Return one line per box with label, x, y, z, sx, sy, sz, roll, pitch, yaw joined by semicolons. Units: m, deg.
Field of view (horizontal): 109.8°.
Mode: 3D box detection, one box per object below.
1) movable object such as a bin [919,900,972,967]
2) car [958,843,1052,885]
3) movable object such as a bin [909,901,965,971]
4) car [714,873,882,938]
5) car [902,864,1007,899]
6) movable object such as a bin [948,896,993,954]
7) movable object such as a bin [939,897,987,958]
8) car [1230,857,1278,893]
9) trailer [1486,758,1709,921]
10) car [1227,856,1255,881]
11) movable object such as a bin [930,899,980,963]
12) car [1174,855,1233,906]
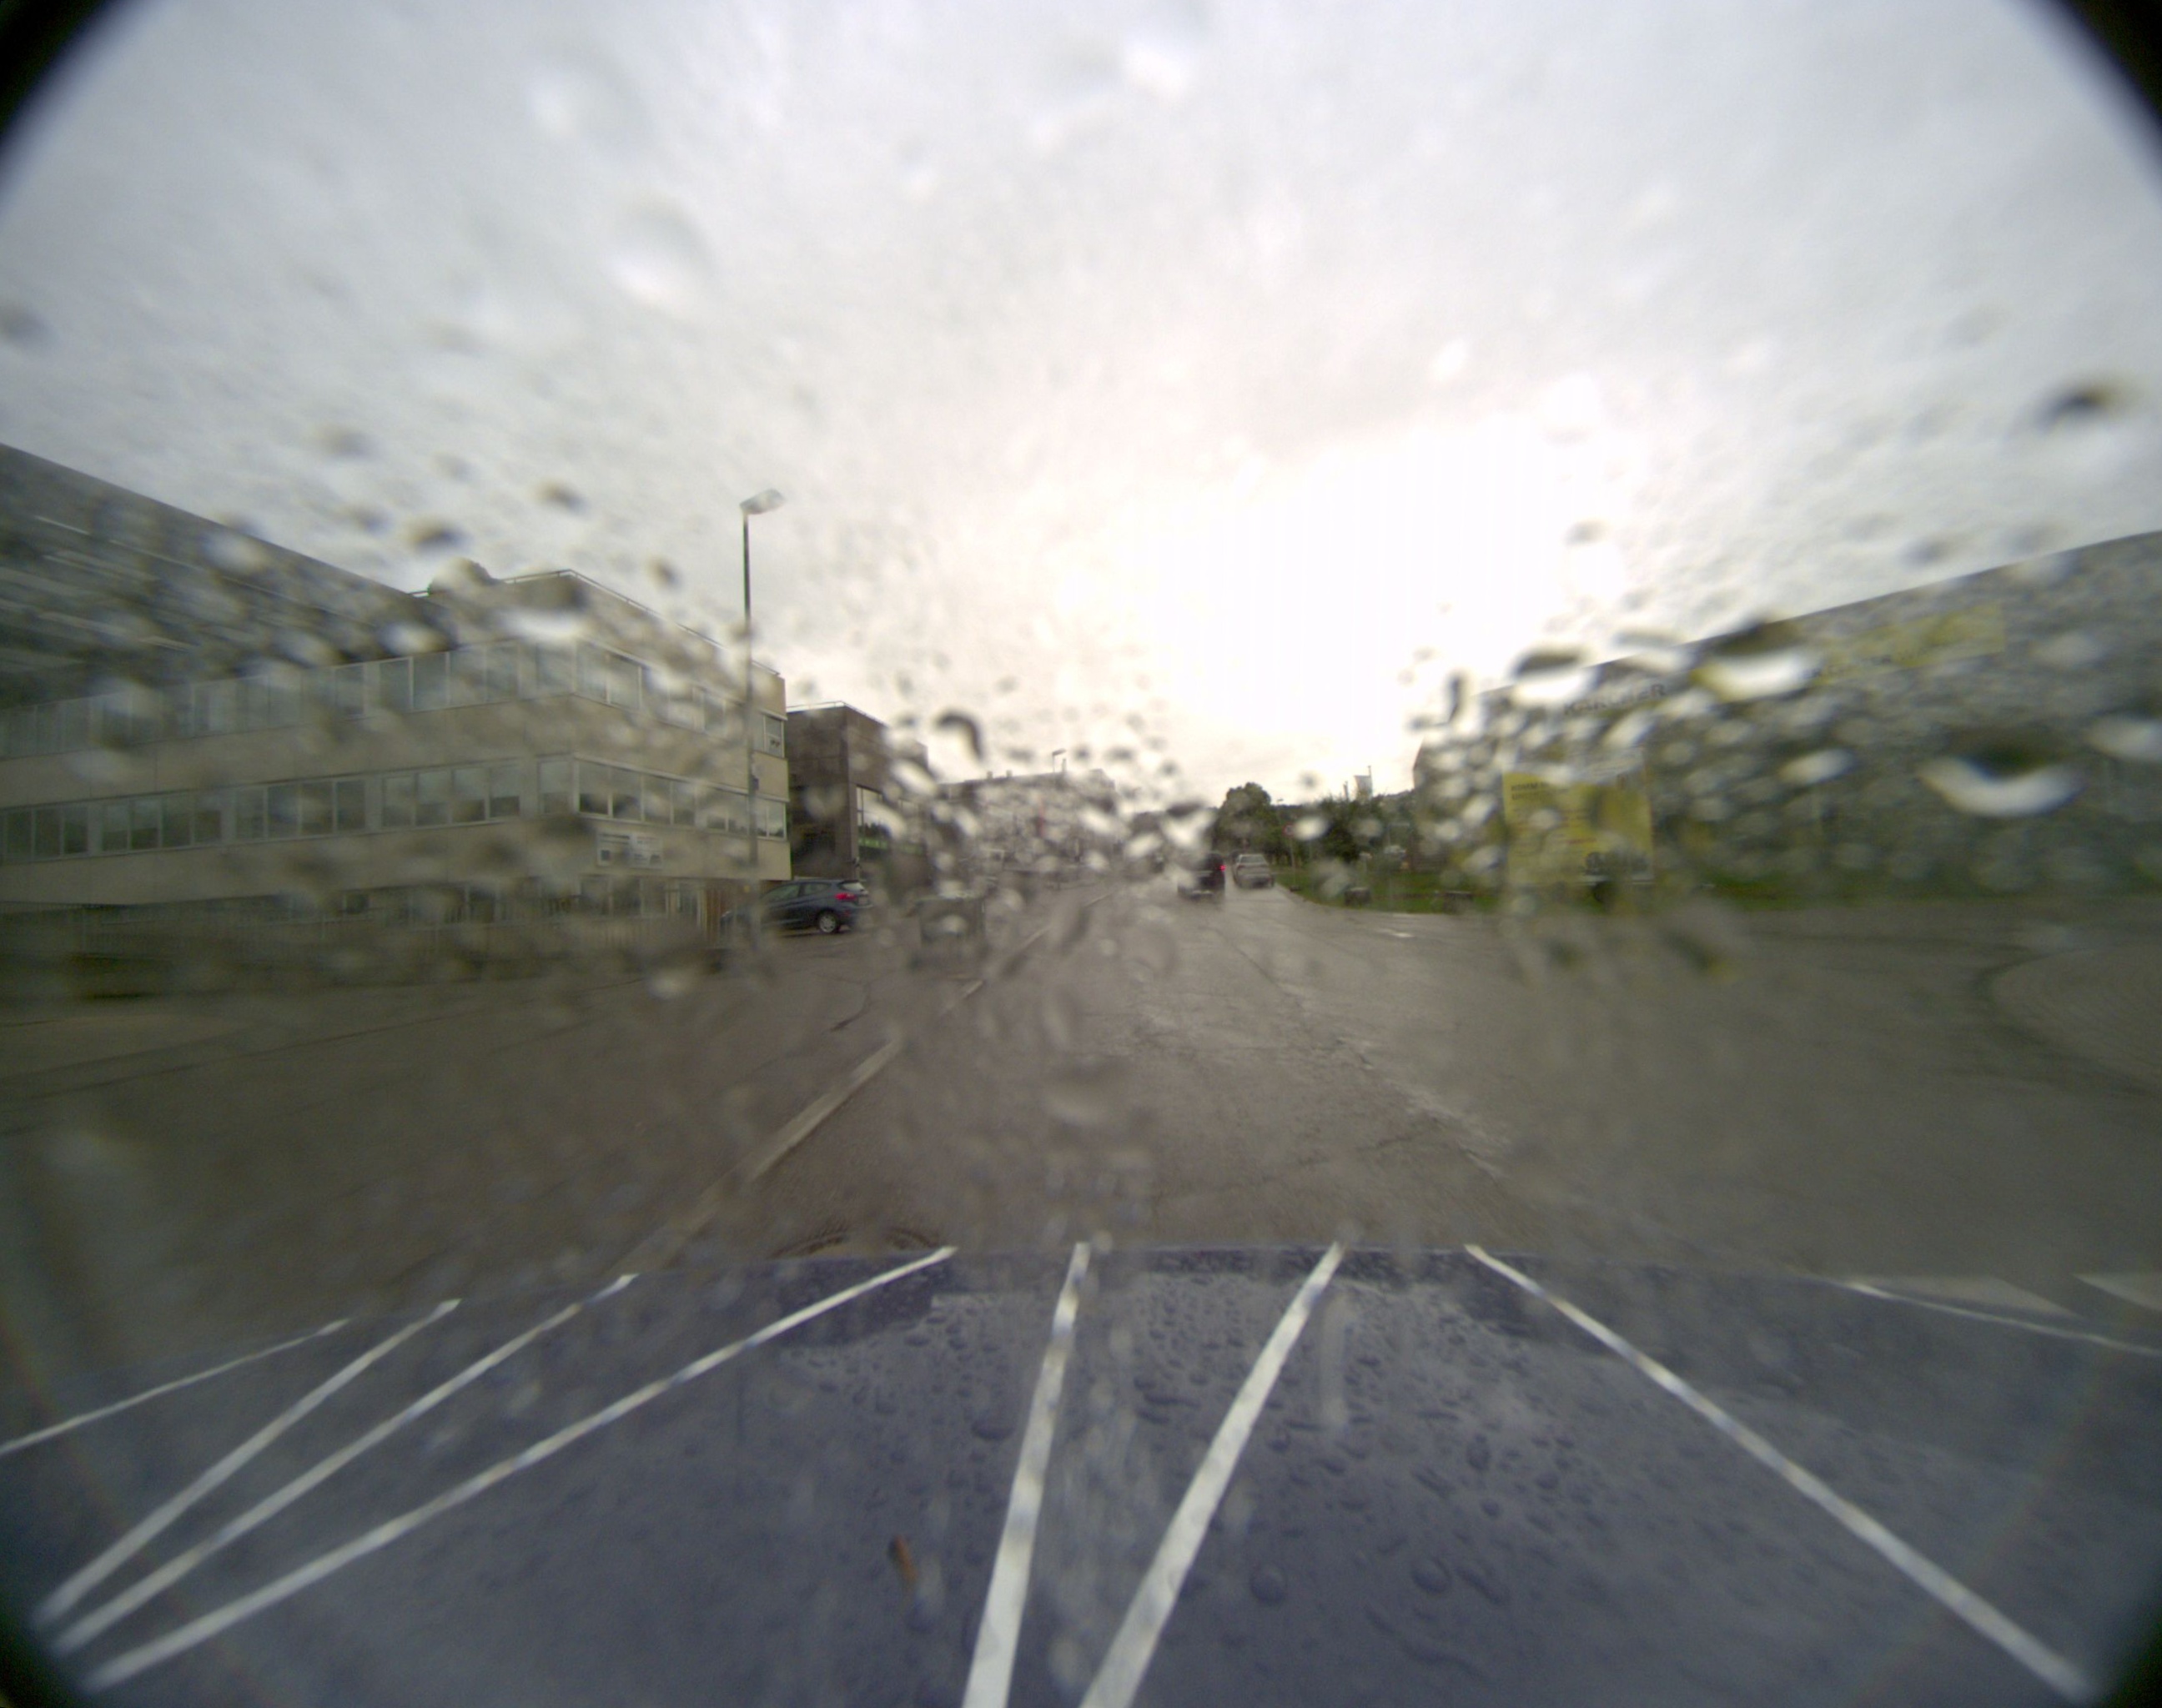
movable object such as a bin;-2.334;1.358;13.155;0.736;1.084;0.594;-2;0;3
car;-4.570;0.594;46.193;5.148;2.280;2.204;-3;0;11
movable object such as a bin;-2.369;1.341;12.532;0.736;1.084;0.594;-2;0;3
car;-7.389;1.324;19.996;3.746;1.531;1.632;-2;-1;7
car;-6.117;1.308;36.918;4.619;1.488;1.942;-2;0;9
movable object such as a bin;-2.181;1.394;15.012;0.736;1.084;0.594;-2;0;3
movable object such as a bin;-2.224;1.384;14.392;0.736;1.084;0.594;-2;0;3
car;9.789;1.178;43.256;1.998;1.902;4.002;-2;-1;3
trailer;14.529;-0.309;21.556;2.394;4.065;4.687;-2;0;-43
car;13.450;1.183;63.794;1.996;2.001;4.005;-2;-1;15
movable object such as a bin;-2.273;1.376;13.775;0.736;1.084;0.594;-2;0;3
car;5.258;1.110;33.141;2.067;2.001;4.513;-2;-1;4
